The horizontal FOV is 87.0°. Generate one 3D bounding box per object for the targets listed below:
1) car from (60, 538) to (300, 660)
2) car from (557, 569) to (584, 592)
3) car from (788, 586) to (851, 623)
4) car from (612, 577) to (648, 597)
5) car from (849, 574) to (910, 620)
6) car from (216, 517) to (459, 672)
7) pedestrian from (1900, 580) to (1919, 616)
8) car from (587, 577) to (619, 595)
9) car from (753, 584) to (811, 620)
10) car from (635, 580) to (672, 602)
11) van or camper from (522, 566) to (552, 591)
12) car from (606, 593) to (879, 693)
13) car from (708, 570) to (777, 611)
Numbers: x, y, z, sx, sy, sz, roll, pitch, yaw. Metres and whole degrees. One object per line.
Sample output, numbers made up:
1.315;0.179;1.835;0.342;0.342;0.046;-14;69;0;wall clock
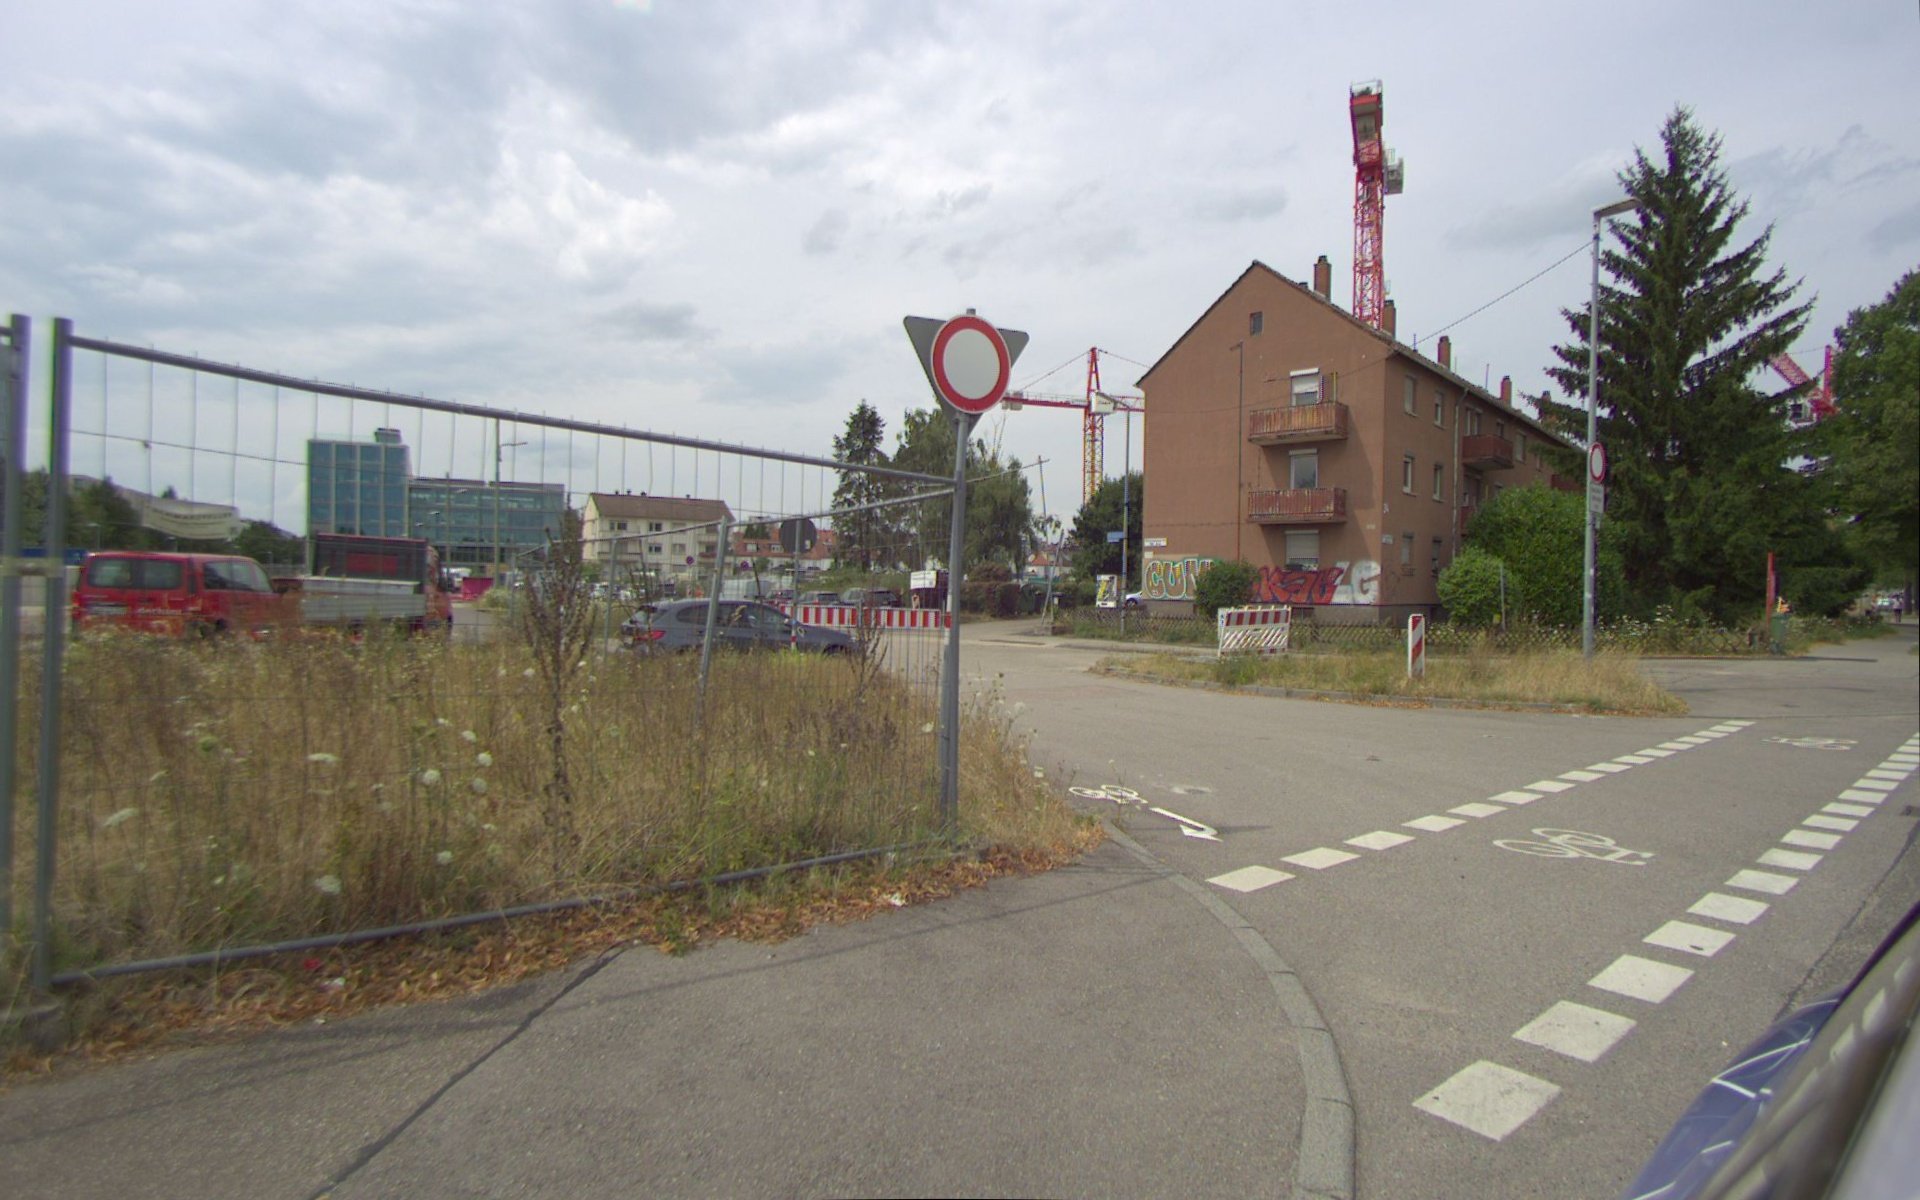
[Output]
-14.461;-0.035;19.173;1.896;1.934;4.999;3;0;-17;car
-38.426;-1.920;99.887;1.852;2.126;4.017;0;1;-31;car
-6.699;0.169;47.855;1.765;1.622;4.020;0;1;-26;car
-25.521;-1.018;78.253;1.820;1.554;4.017;0;1;-31;car
-3.509;-0.149;43.451;1.764;1.872;4.009;0;1;-17;car
-11.480;-0.139;19.341;2.270;2.442;6.557;0;1;-16;car
54.885;-0.131;58.417;0.851;2.039;0.722;1;0;38;pedestrian
-30.856;-1.202;87.391;1.820;1.554;4.017;0;1;-31;car
-9.241;0.062;52.292;1.819;1.771;4.020;0;1;-27;car
-21.822;-0.683;71.940;1.820;1.525;4.019;0;1;-28;car
-48.289;-2.470;115.433;2.306;2.721;5.249;0;1;-33;van or camper
-3.623;0.639;17.163;4.178;1.492;1.767;0;1;-35;car
-12.317;-0.556;57.075;2.107;2.163;4.910;0;1;-35;car
